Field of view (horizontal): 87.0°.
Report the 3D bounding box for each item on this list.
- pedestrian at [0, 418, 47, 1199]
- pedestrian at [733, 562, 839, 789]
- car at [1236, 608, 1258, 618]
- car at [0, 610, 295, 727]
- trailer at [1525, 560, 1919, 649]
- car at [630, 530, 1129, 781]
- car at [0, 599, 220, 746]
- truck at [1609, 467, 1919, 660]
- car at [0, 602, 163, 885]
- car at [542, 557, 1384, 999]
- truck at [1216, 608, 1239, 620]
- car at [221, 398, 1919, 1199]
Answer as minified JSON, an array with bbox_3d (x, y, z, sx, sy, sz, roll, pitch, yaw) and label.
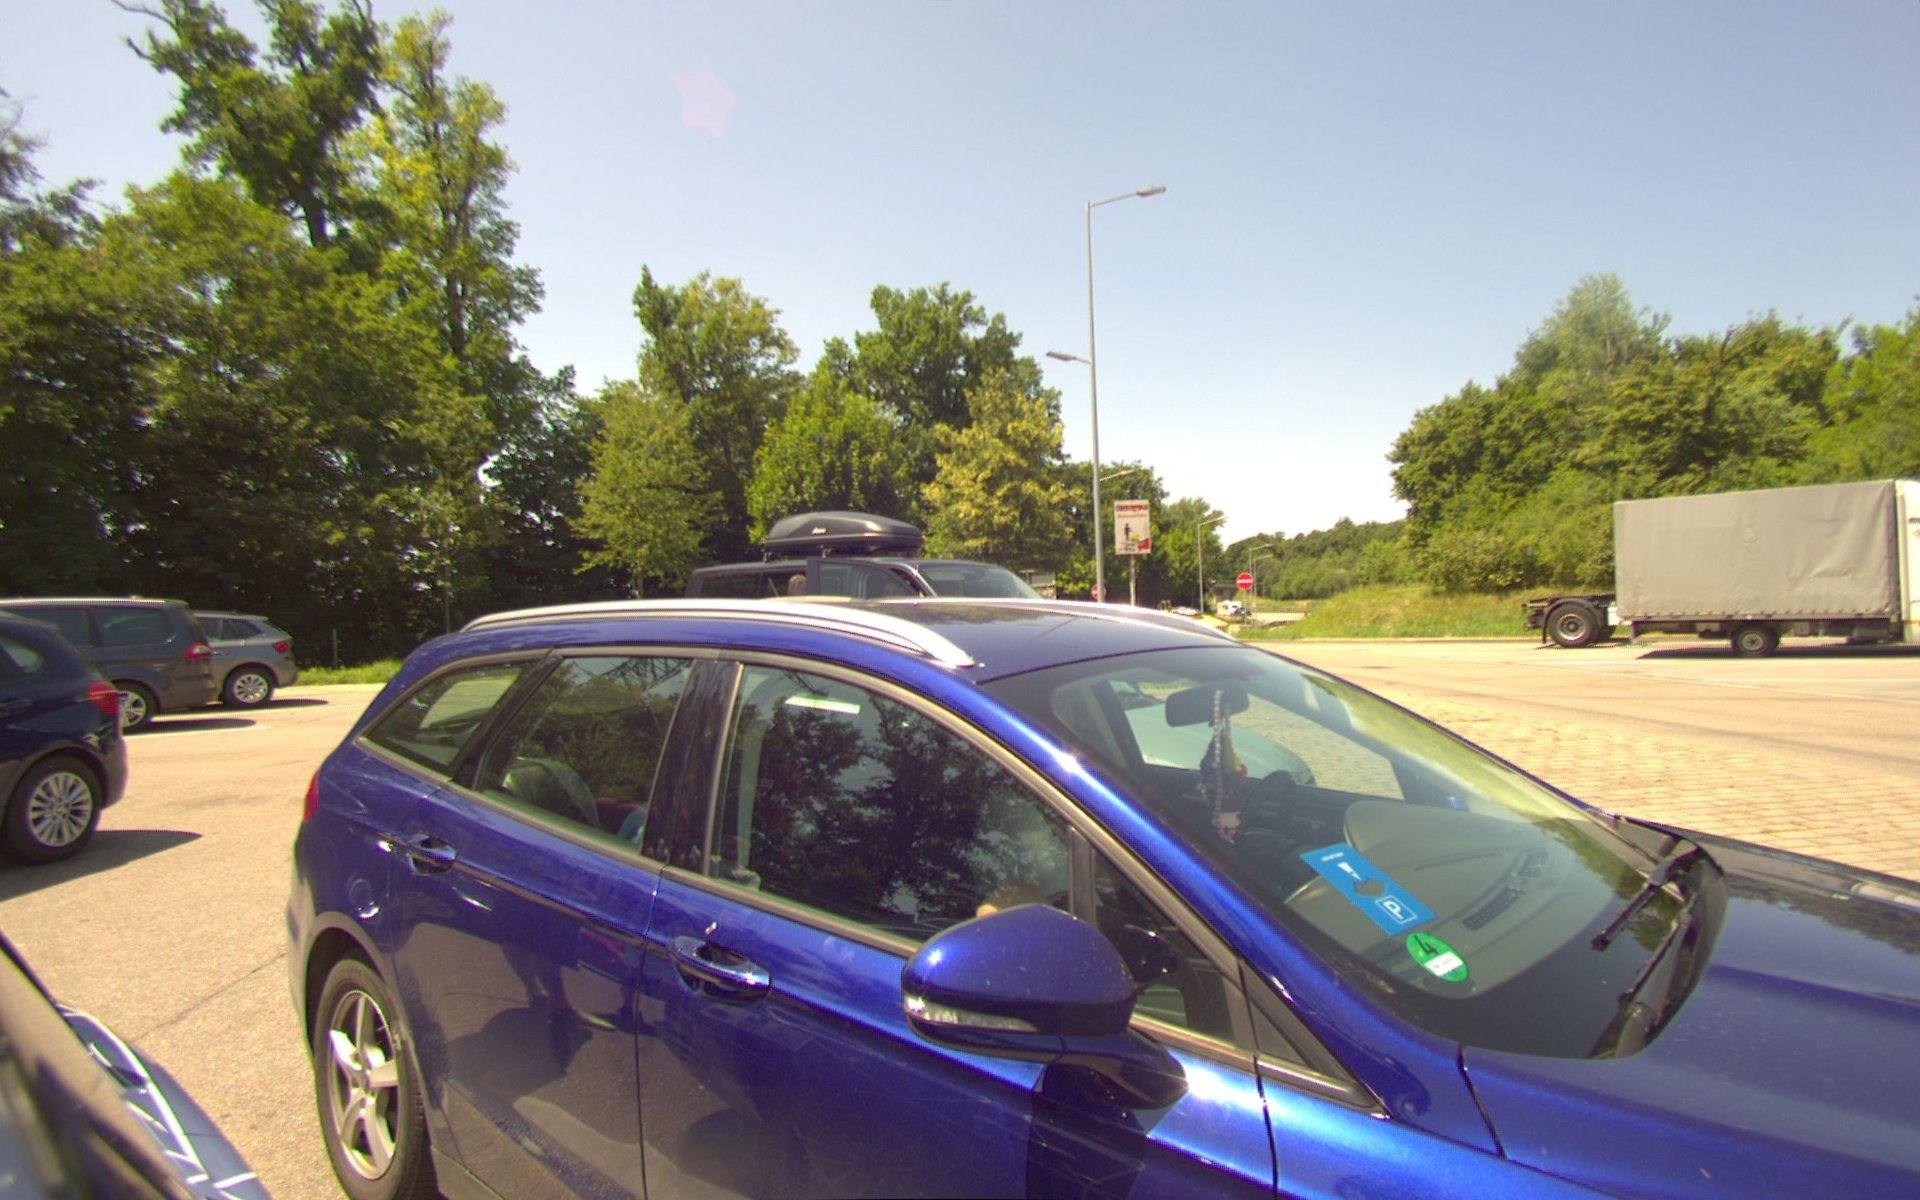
[{"bbox_3d":[-2.718,0.524,2.240,0.905,1.919,0.816,-1,0,-33],"label":"pedestrian"},{"bbox_3d":[-1.408,0.590,8.305,0.773,1.767,0.756,-1,0,-5],"label":"pedestrian"},{"bbox_3d":[48.073,2.157,169.671,1.937,1.644,4.790,-1,0,-5],"label":"car"},{"bbox_3d":[-12.613,0.974,15.660,3.767,1.572,1.654,-1,0,-38],"label":"car"},{"bbox_3d":[17.715,0.153,23.106,8.098,1.638,2.187,-4,-1,41],"label":"trailer"},{"bbox_3d":[-0.883,0.500,9.656,4.558,1.912,1.740,-3,0,32],"label":"car"},{"bbox_3d":[-11.621,0.870,12.653,3.767,1.708,1.654,-1,0,-38],"label":"car"},{"bbox_3d":[16.790,-0.651,19.009,7.274,3.269,2.678,-4,-1,42],"label":"truck"},{"bbox_3d":[-6.172,0.786,4.569,1.724,1.564,4.343,0,-1,0],"label":"car"},{"bbox_3d":[-0.312,0.672,5.607,4.569,1.517,1.735,-3,0,40],"label":"car"},{"bbox_3d":[47.091,2.403,178.070,2.304,2.029,5.203,-1,0,-5],"label":"truck"},{"bbox_3d":[0.243,0.637,2.070,4.569,1.482,1.735,-3,0,40],"label":"car"}]
